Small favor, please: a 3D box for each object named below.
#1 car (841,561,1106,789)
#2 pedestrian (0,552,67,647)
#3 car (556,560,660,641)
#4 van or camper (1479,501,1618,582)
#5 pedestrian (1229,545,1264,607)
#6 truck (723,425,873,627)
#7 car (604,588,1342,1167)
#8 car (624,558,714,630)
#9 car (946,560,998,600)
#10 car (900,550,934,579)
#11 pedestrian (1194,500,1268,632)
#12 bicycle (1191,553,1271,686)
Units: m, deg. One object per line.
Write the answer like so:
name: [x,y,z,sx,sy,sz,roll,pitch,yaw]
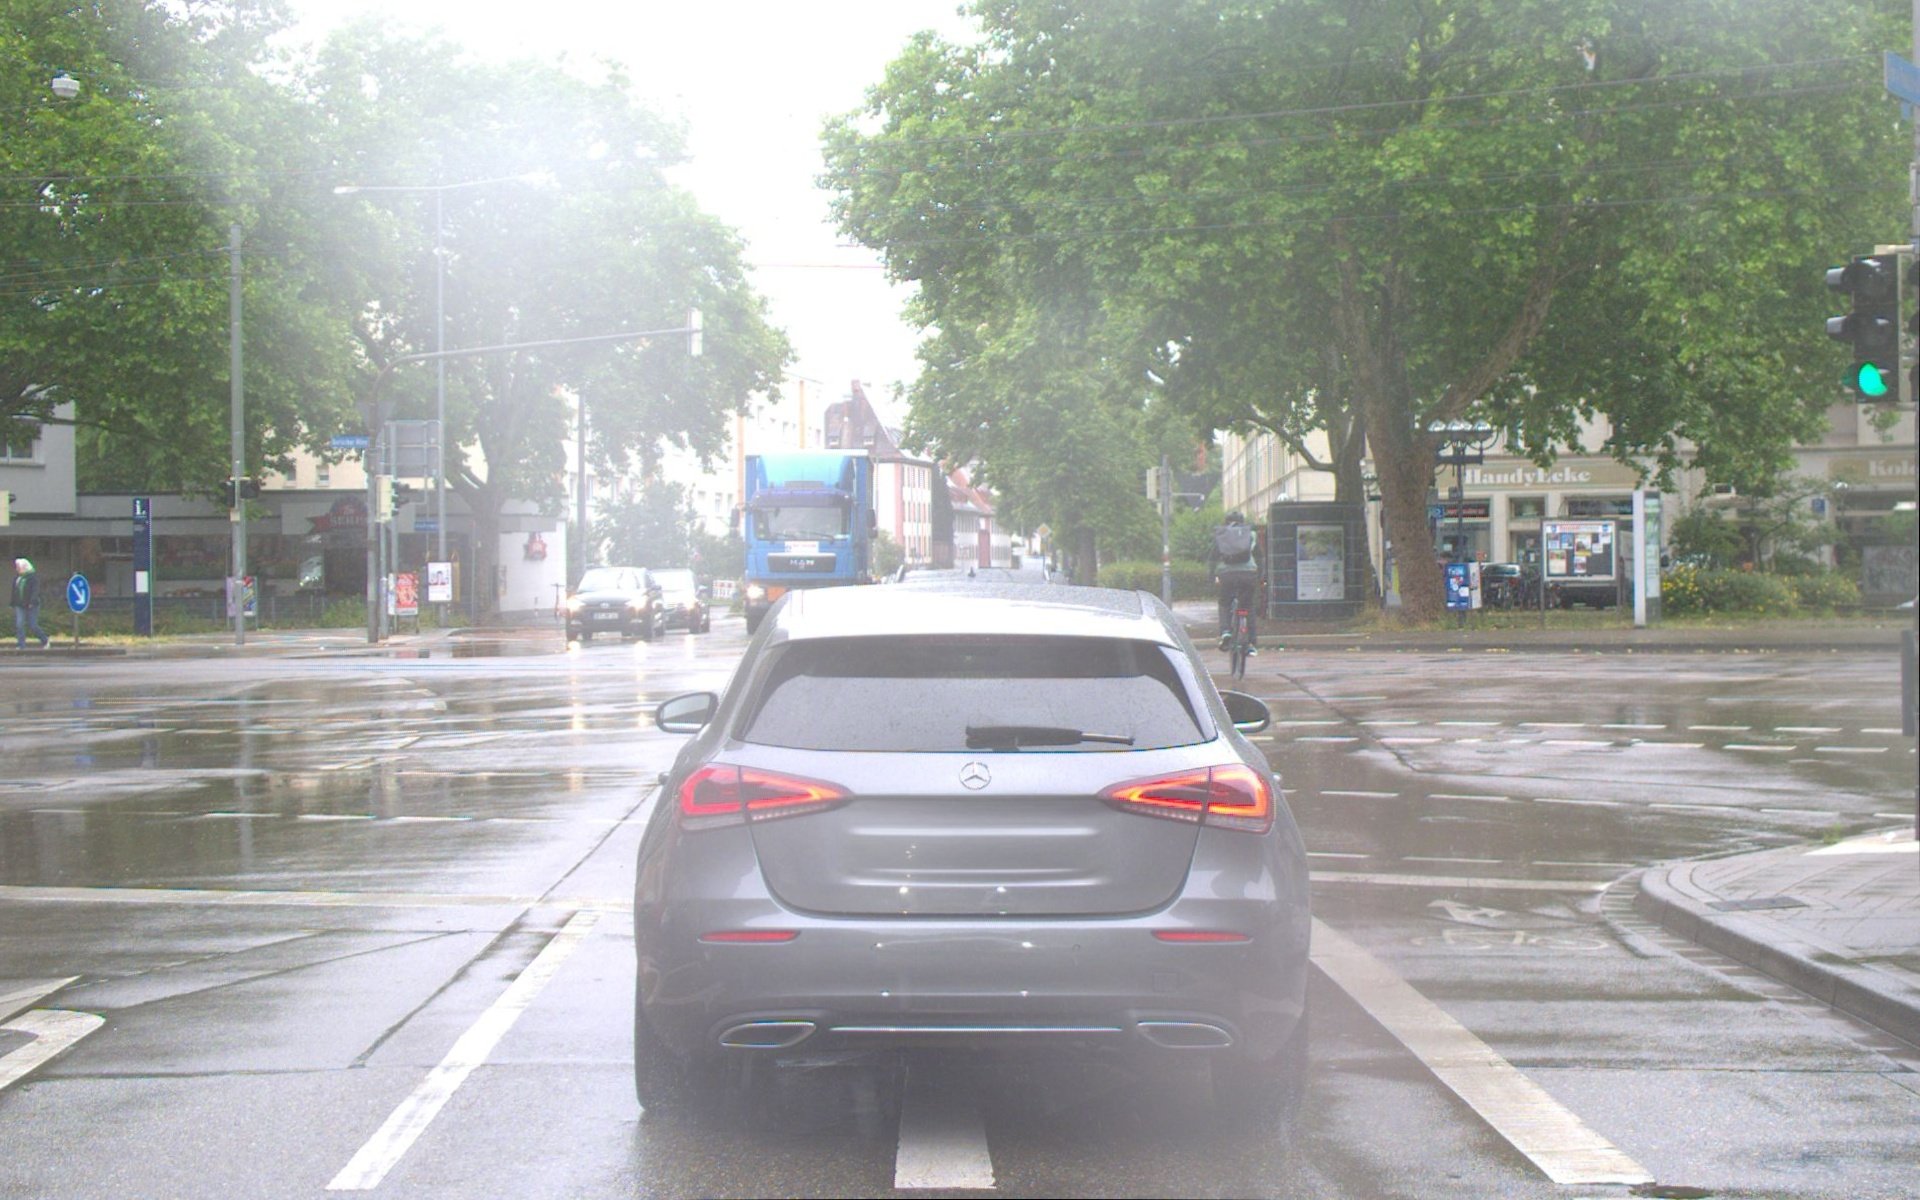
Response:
car: [0.063,0.443,23.287,1.607,1.368,4.000,-1,1,-1]
pedestrian: [-16.365,-0.012,60.707,0.835,1.643,0.755,-2,1,15]
car: [-7.094,-0.011,69.618,1.743,1.541,3.779,-1,1,-1]
van or camper: [16.966,-1.671,98.888,2.400,2.224,5.422,-1,0,27]
pedestrian: [7.695,-0.645,92.347,0.663,1.663,0.719,-1,0,-24]
truck: [-3.402,-1.554,74.539,2.845,4.011,10.317,-1,1,-1]
car: [0.013,0.674,10.156,1.791,1.368,3.507,1,1,-1]
car: [-6.610,-0.154,78.378,1.726,1.541,4.340,-1,1,-1]
car: [0.463,-0.819,140.949,1.993,1.568,4.000,-1,0,-2]
car: [-2.694,-2.224,216.707,1.890,1.830,4.000,-1,0,3]
pedestrian: [2.950,-0.372,37.368,0.744,1.393,1.047,-2,1,6]
bicycle: [2.956,0.185,37.277,0.749,1.372,2.706,-2,1,6]
